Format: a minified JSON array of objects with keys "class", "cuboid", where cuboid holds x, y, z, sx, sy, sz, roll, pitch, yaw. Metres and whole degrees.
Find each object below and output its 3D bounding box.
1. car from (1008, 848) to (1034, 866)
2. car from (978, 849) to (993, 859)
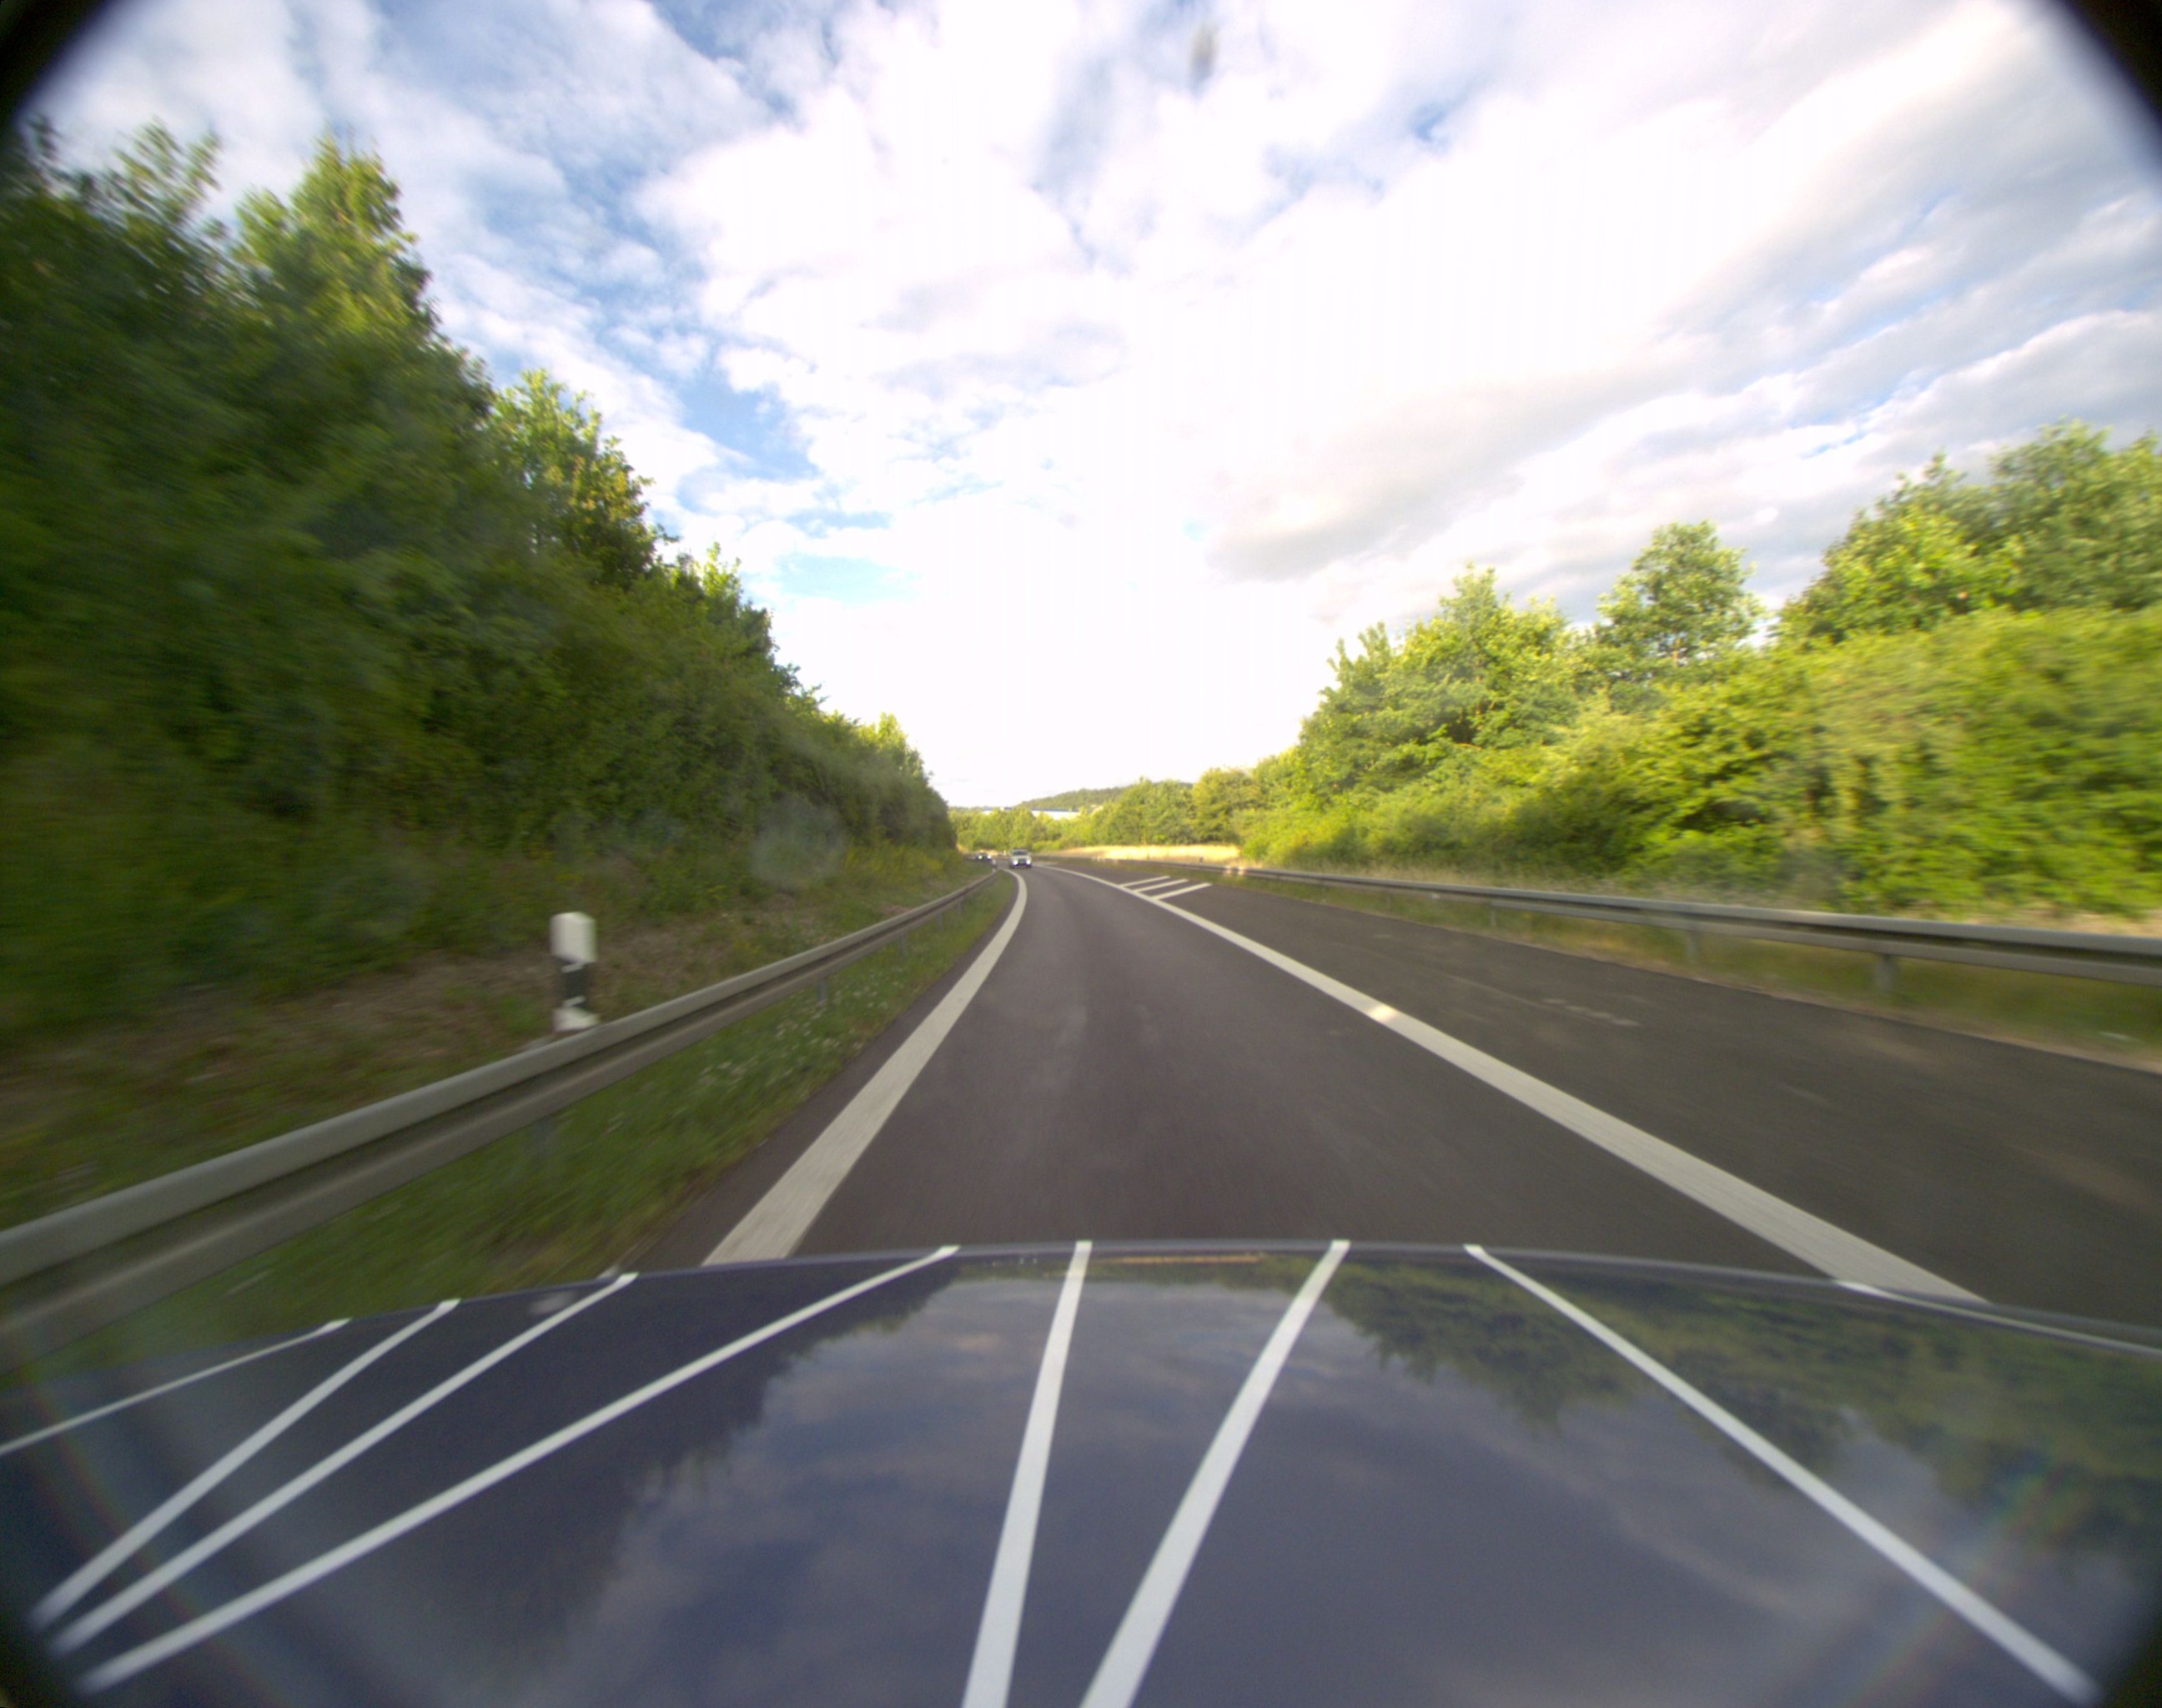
[{"class":"car","cuboid":[-5.769,0.257,72.298,1.907,1.655,3.995,-1,1,-13]},{"class":"car","cuboid":[-14.265,-0.056,113.634,1.622,1.452,3.657,-2,1,-16]}]
